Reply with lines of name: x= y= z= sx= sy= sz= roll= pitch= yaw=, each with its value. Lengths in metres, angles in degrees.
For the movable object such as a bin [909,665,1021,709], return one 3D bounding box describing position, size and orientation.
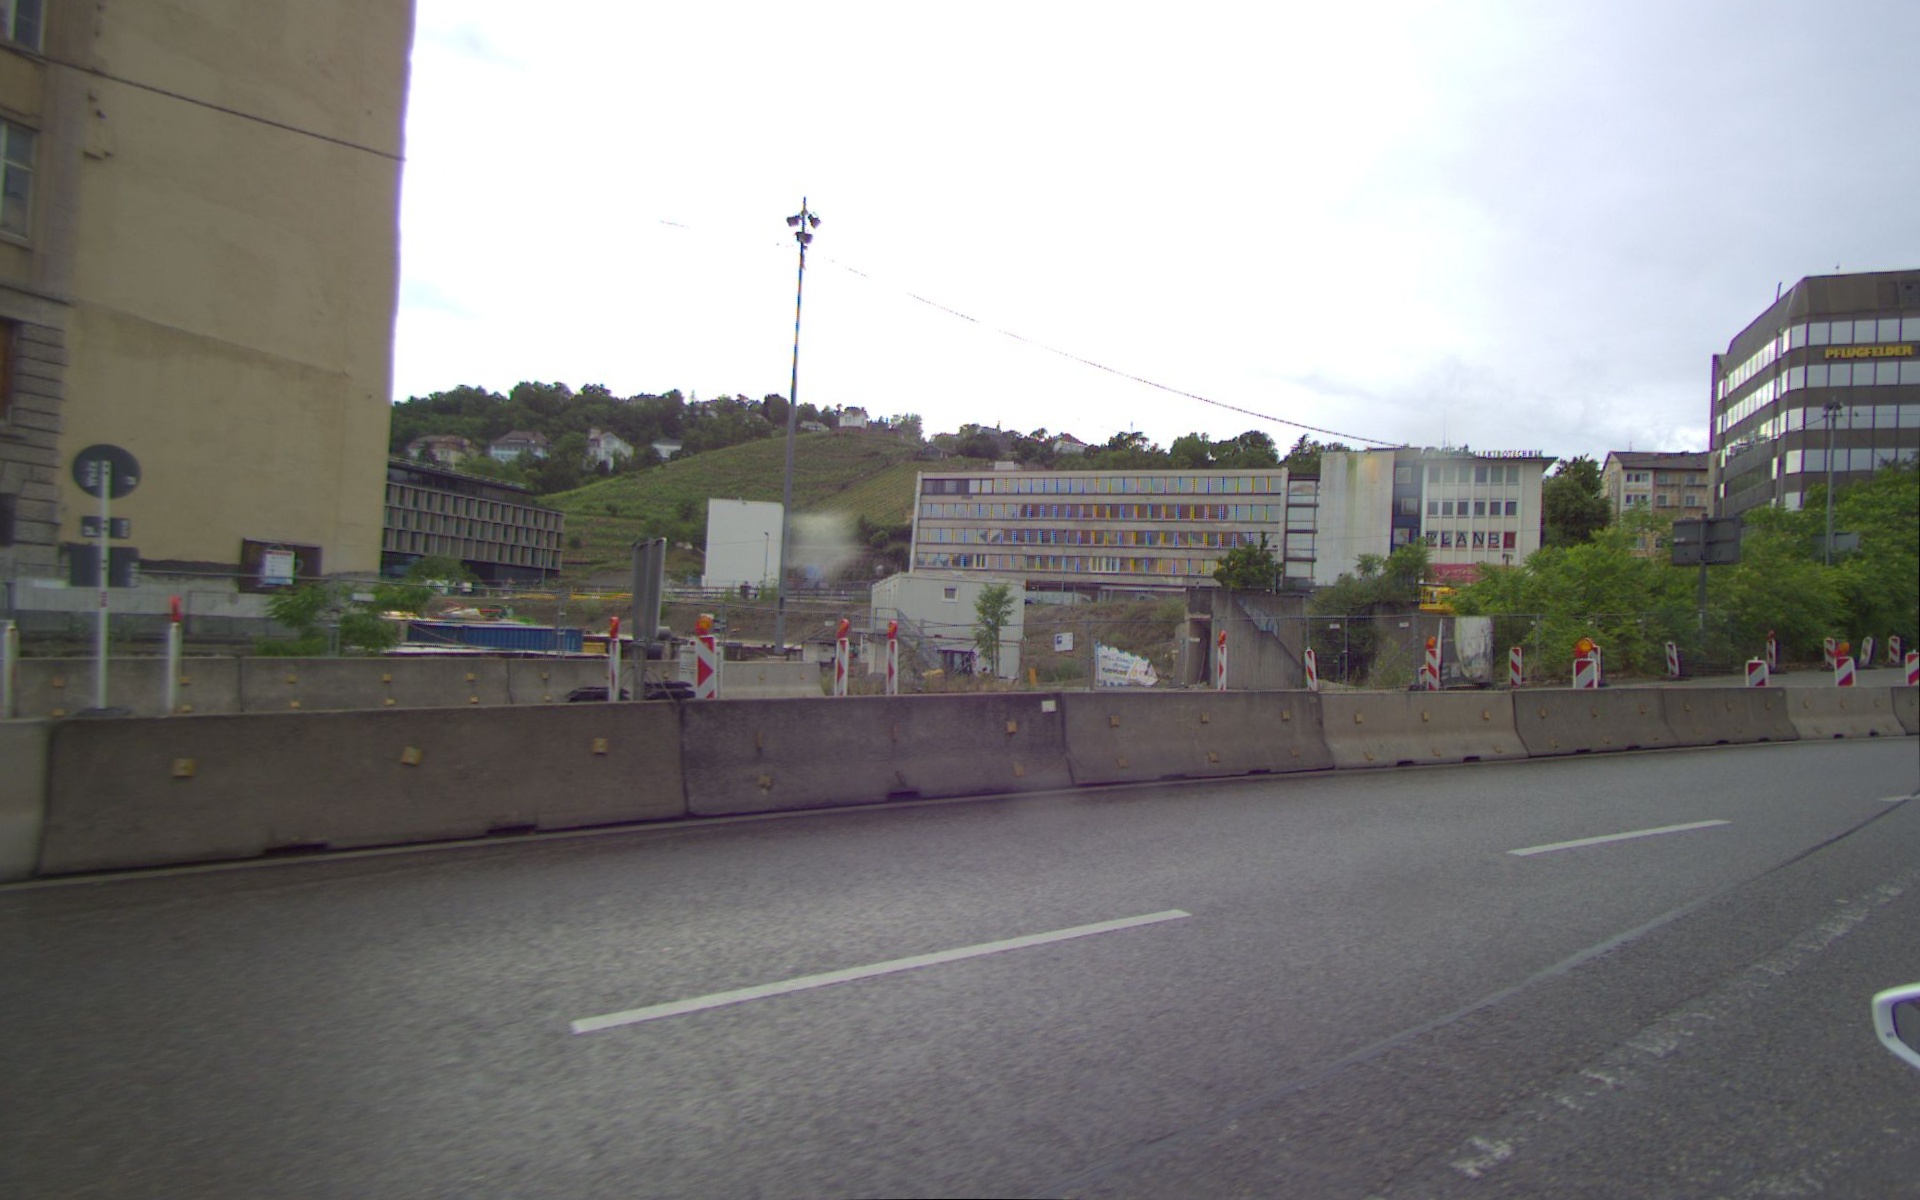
movable object such as a bin: x=0.215 y=3.711 z=42.881 sx=4.382 sy=1.698 sz=1.728 roll=3 pitch=-2 yaw=-21
